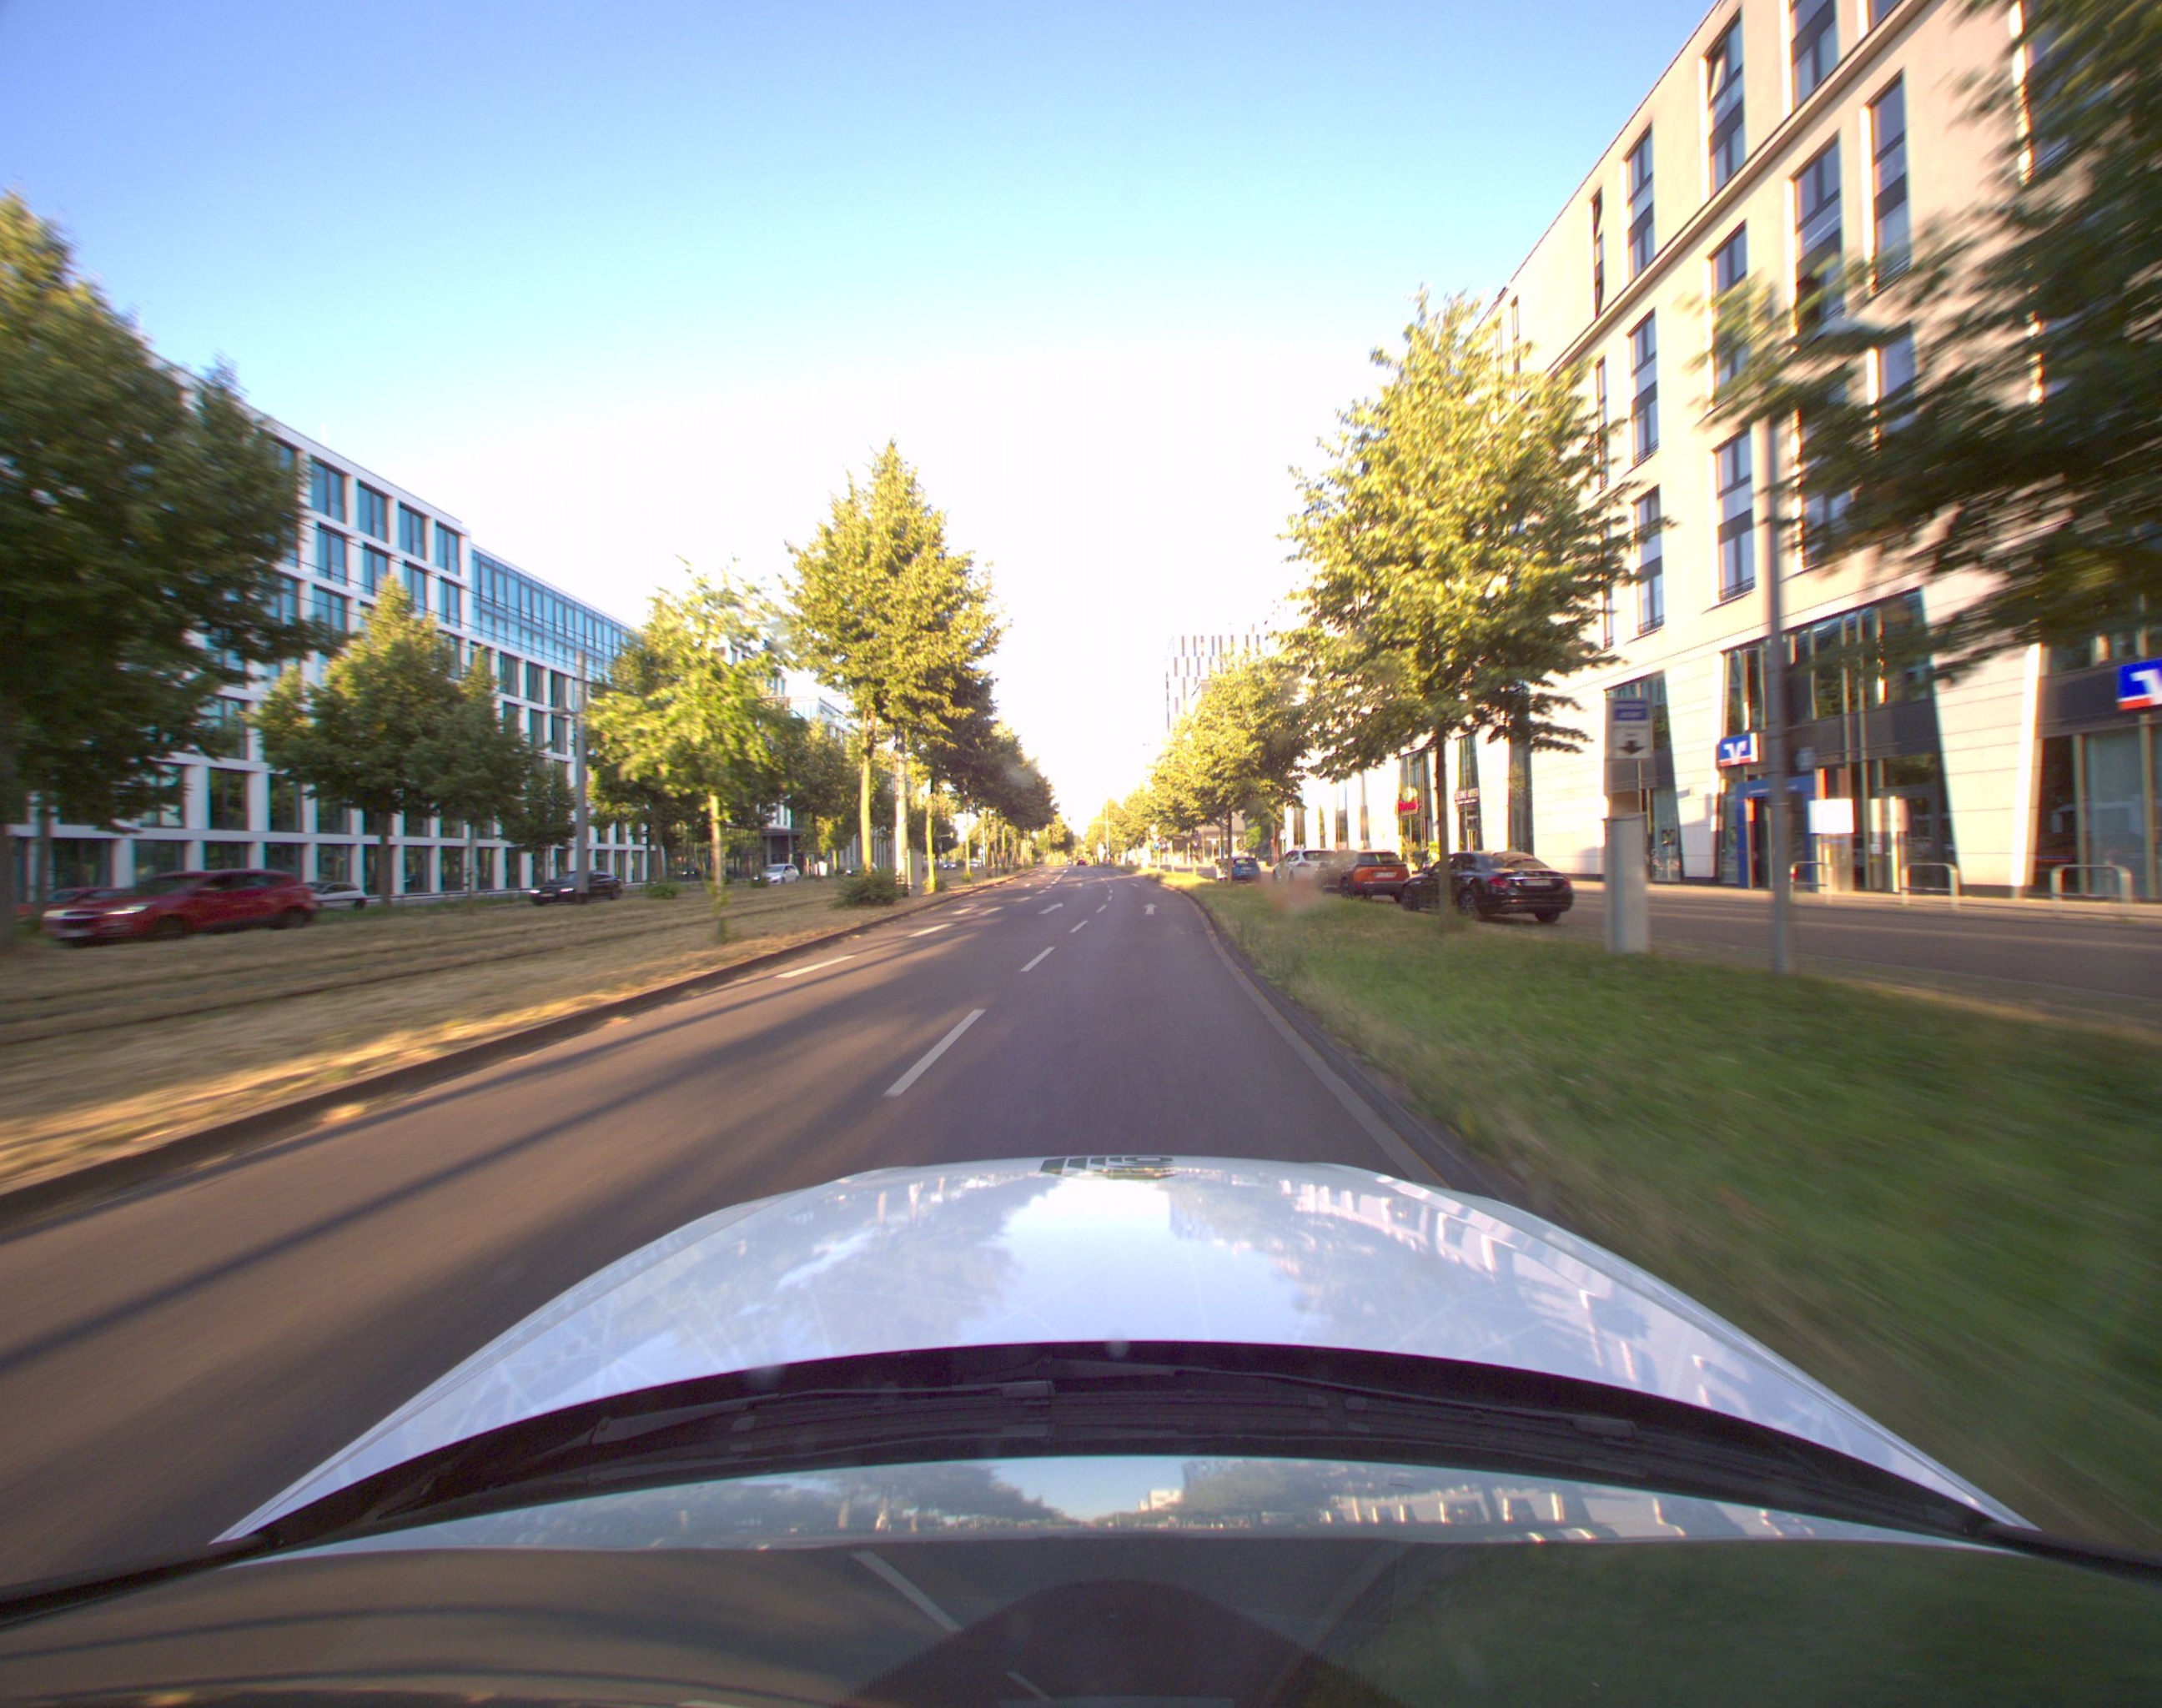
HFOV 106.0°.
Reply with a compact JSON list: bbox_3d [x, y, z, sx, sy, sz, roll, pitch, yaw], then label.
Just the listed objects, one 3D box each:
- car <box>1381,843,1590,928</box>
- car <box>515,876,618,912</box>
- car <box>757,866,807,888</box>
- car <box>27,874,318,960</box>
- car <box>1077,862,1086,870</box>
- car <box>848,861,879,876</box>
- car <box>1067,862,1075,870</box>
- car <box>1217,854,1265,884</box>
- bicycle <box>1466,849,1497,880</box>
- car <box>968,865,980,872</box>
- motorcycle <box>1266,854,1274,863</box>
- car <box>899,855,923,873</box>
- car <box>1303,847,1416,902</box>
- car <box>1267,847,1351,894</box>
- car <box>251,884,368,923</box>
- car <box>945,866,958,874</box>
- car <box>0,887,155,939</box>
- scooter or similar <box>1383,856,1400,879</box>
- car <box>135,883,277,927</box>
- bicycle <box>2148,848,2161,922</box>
[{"bbox_3d":[8.335,0.595,17.381,1.938,1.549,4.808,0,-1,-2],"label":"car"},{"bbox_3d":[-22.081,1.688,35.186,1.652,1.332,4.471,-2,0,-2],"label":"car"},{"bbox_3d":[-19.381,1.456,53.009,1.652,1.332,4.527,-2,0,-2],"label":"car"},{"bbox_3d":[-20.050,1.300,18.309,1.880,1.578,4.179,-2,0,-2],"label":"car"},{"bbox_3d":[0.106,2.895,195.850,1.988,2.013,3.998,-1,0,-1],"label":"car"},{"bbox_3d":[-19.889,1.293,74.572,1.652,1.332,4.738,-2,0,-2],"label":"car"},{"bbox_3d":[-2.574,3.113,212.097,2.081,2.013,3.998,-1,0,-1],"label":"car"},{"bbox_3d":[8.459,0.764,43.390,1.719,1.530,4.267,0,-1,0],"label":"car"},{"bbox_3d":[15.549,0.404,31.668,0.567,1.124,1.839,-3,0,11],"label":"bicycle"},{"bbox_3d":[-19.539,2.664,149.351,1.782,1.332,3.669,-1,0,-2],"label":"car"},{"bbox_3d":[25.040,0.622,107.771,0.647,1.094,2.336,-2,0,6],"label":"motorcycle"},{"bbox_3d":[-20.586,1.233,98.741,1.988,2.014,3.998,-2,-1,-1],"label":"car"},{"bbox_3d":[8.271,0.582,24.624,1.849,1.530,4.481,0,-1,0],"label":"car"},{"bbox_3d":[8.785,0.610,31.892,1.944,1.714,5.159,0,-1,1],"label":"car"},{"bbox_3d":[-36.214,2.291,38.353,1.853,1.582,3.784,-1,0,1],"label":"car"},{"bbox_3d":[-22.367,2.708,140.477,1.652,1.332,4.581,-1,0,-2],"label":"car"},{"bbox_3d":[-36.082,2.070,29.155,1.853,1.582,3.492,-1,0,1],"label":"car"},{"bbox_3d":[15.918,0.687,41.750,0.354,1.187,1.311,-3,0,1],"label":"scooter or similar"},{"bbox_3d":[-36.003,2.066,33.671,1.853,1.582,3.665,-1,0,1],"label":"car"},{"bbox_3d":[15.522,0.429,10.562,0.650,1.039,2.055,-1,0,0],"label":"bicycle"}]
